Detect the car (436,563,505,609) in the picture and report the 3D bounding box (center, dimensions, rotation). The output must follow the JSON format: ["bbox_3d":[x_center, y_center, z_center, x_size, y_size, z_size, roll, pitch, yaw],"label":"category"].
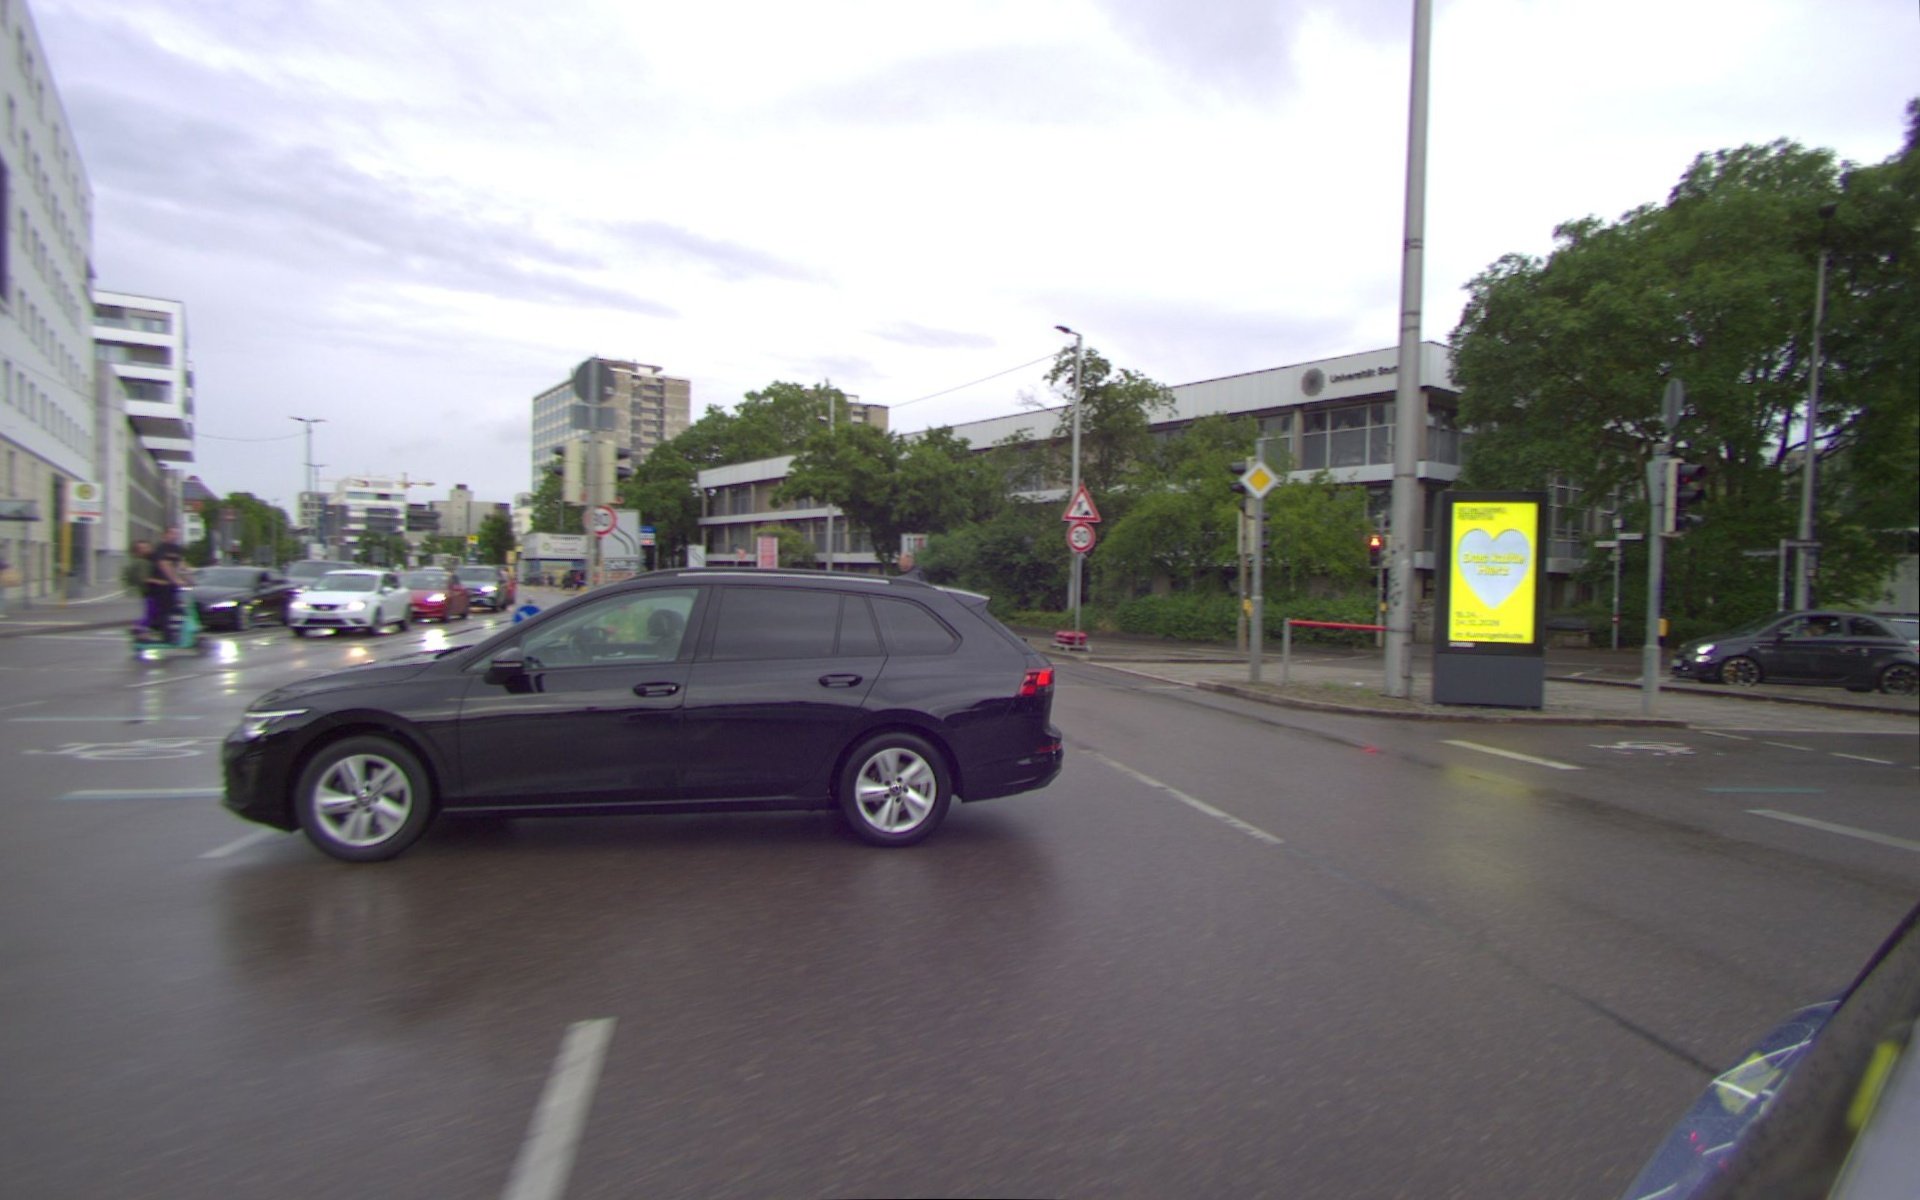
[{"bbox_3d":[-17.826,-0.459,37.011,1.925,1.556,4.167,1,-1,-22],"label":"car"}]

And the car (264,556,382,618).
[{"bbox_3d":[-18.801,-0.435,30.081,1.958,1.685,4.398,1,2,-19],"label":"car"}]

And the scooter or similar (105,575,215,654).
[{"bbox_3d":[-12.969,0.225,16.448,1.286,1.254,0.594,0,-1,-24],"label":"scooter or similar"}]

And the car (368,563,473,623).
[{"bbox_3d":[-15.711,-0.260,29.712,1.925,1.576,4.540,1,1,-18],"label":"car"}]

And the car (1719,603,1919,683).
[{"bbox_3d":[18.220,0.840,20.332,4.347,1.468,1.856,1,0,19],"label":"car"}]

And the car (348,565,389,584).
[{"bbox_3d":[-46.737,-2.044,79.924,1.966,1.395,4.379,1,1,-42],"label":"car"}]

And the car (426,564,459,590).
[{"bbox_3d":[-37.708,-1.661,73.705,1.927,1.722,4.163,1,-1,-30],"label":"car"}]

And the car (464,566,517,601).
[{"bbox_3d":[-21.244,-0.690,45.920,1.925,1.468,4.167,1,-1,-22],"label":"car"}]

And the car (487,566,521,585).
[{"bbox_3d":[-45.622,-2.460,101.249,1.964,1.832,4.782,1,0,-39],"label":"car"}]

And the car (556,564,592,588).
[{"bbox_3d":[-32.920,-2.055,86.240,1.764,1.932,4.309,1,1,-36],"label":"car"}]

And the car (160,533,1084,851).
[{"bbox_3d":[-1.676,0.477,5.912,4.419,1.484,1.678,2,0,-10],"label":"car"}]

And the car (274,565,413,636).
[{"bbox_3d":[-14.048,-0.025,23.305,1.760,1.462,4.009,1,1,-17],"label":"car"}]

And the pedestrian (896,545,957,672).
[{"bbox_3d":[-0.544,0.130,15.916,0.813,1.916,1.029,0,-1,-10],"label":"pedestrian"}]

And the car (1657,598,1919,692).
[{"bbox_3d":[15.103,0.753,18.148,3.957,1.468,1.852,2,0,25],"label":"car"}]

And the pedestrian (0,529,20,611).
[{"bbox_3d":[-23.375,-0.709,24.149,0.938,1.960,1.003,0,-1,7],"label":"pedestrian"}]

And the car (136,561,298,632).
[{"bbox_3d":[-17.015,-0.111,23.399,1.760,1.462,4.009,1,1,-17],"label":"car"}]

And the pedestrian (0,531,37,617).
[{"bbox_3d":[-21.176,-0.552,22.338,0.806,1.863,0.956,0,-1,-13],"label":"pedestrian"}]

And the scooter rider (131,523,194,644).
[{"bbox_3d":[-12.963,-0.264,16.461,0.618,1.907,0.727,0,-1,-22],"label":"scooter rider"}]
